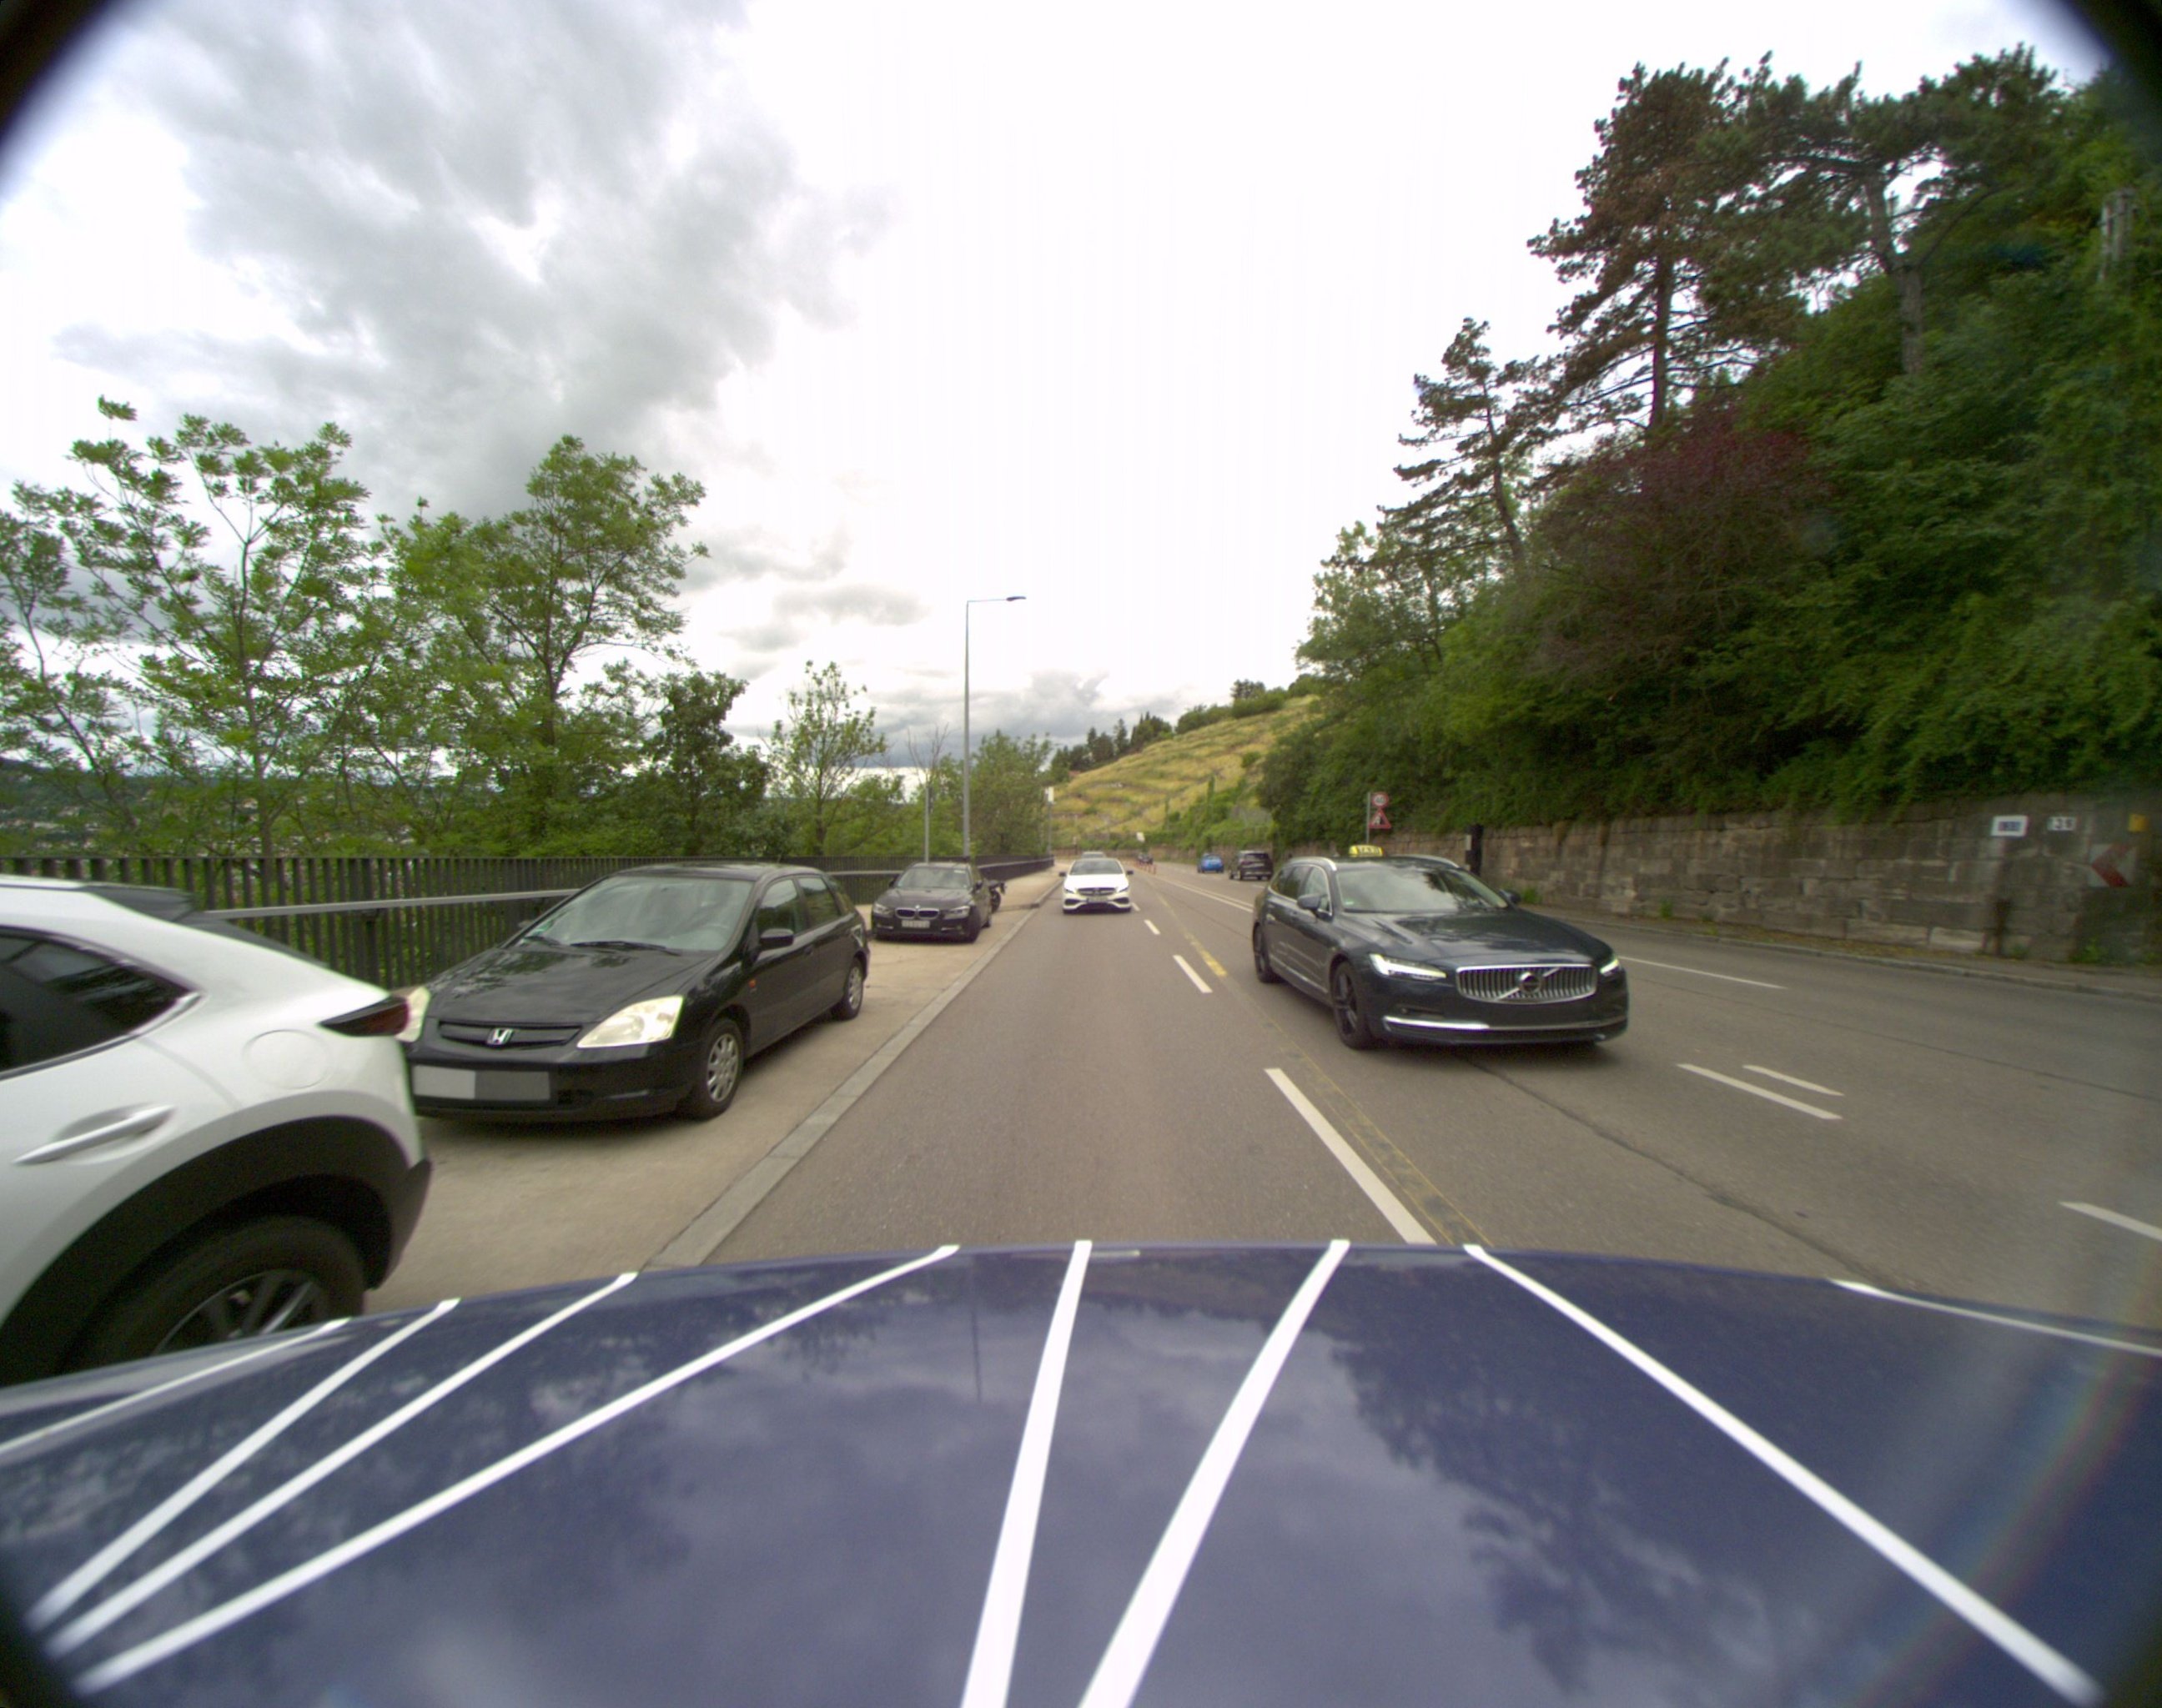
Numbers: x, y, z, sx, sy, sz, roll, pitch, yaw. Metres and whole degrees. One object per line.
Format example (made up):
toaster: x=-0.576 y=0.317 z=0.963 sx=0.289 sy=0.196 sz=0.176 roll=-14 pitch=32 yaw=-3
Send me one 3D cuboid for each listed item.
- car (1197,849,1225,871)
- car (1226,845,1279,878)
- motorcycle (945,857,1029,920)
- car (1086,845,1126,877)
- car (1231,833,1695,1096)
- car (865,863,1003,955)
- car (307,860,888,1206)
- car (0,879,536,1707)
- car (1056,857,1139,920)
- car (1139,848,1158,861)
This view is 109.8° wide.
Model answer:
car: x=9.768 y=0.428 z=57.225 sx=1.587 sy=1.453 sz=3.523 roll=-2 pitch=1 yaw=2
car: x=9.388 y=0.344 z=41.954 sx=1.820 sy=1.687 sz=4.468 roll=-1 pitch=1 yaw=-1
motorcycle: x=-2.357 y=0.838 z=19.426 sx=0.770 sy=1.459 sz=2.509 roll=-1 pitch=1 yaw=30
car: x=1.329 y=0.331 z=40.717 sx=1.998 sy=1.580 sz=4.000 roll=-2 pitch=1 yaw=1
car: x=2.855 y=0.666 z=7.208 sx=1.939 sy=1.567 sz=5.027 roll=-2 pitch=0 yaw=1
car: x=-2.663 y=0.934 z=14.771 sx=1.828 sy=1.393 sz=4.318 roll=2 pitch=1 yaw=0
car: x=-2.913 y=0.897 z=5.843 sx=1.663 sy=1.563 sz=4.255 roll=2 pitch=1 yaw=1
car: x=-2.820 y=0.910 z=0.377 sx=1.731 sy=1.559 sz=4.623 roll=1 pitch=1 yaw=1
car: x=0.479 y=0.856 z=20.066 sx=1.903 sy=1.418 sz=4.266 roll=-2 pitch=-1 yaw=2
car: x=7.932 y=-0.004 z=89.430 sx=1.861 sy=1.437 sz=4.295 roll=-1 pitch=1 yaw=0
